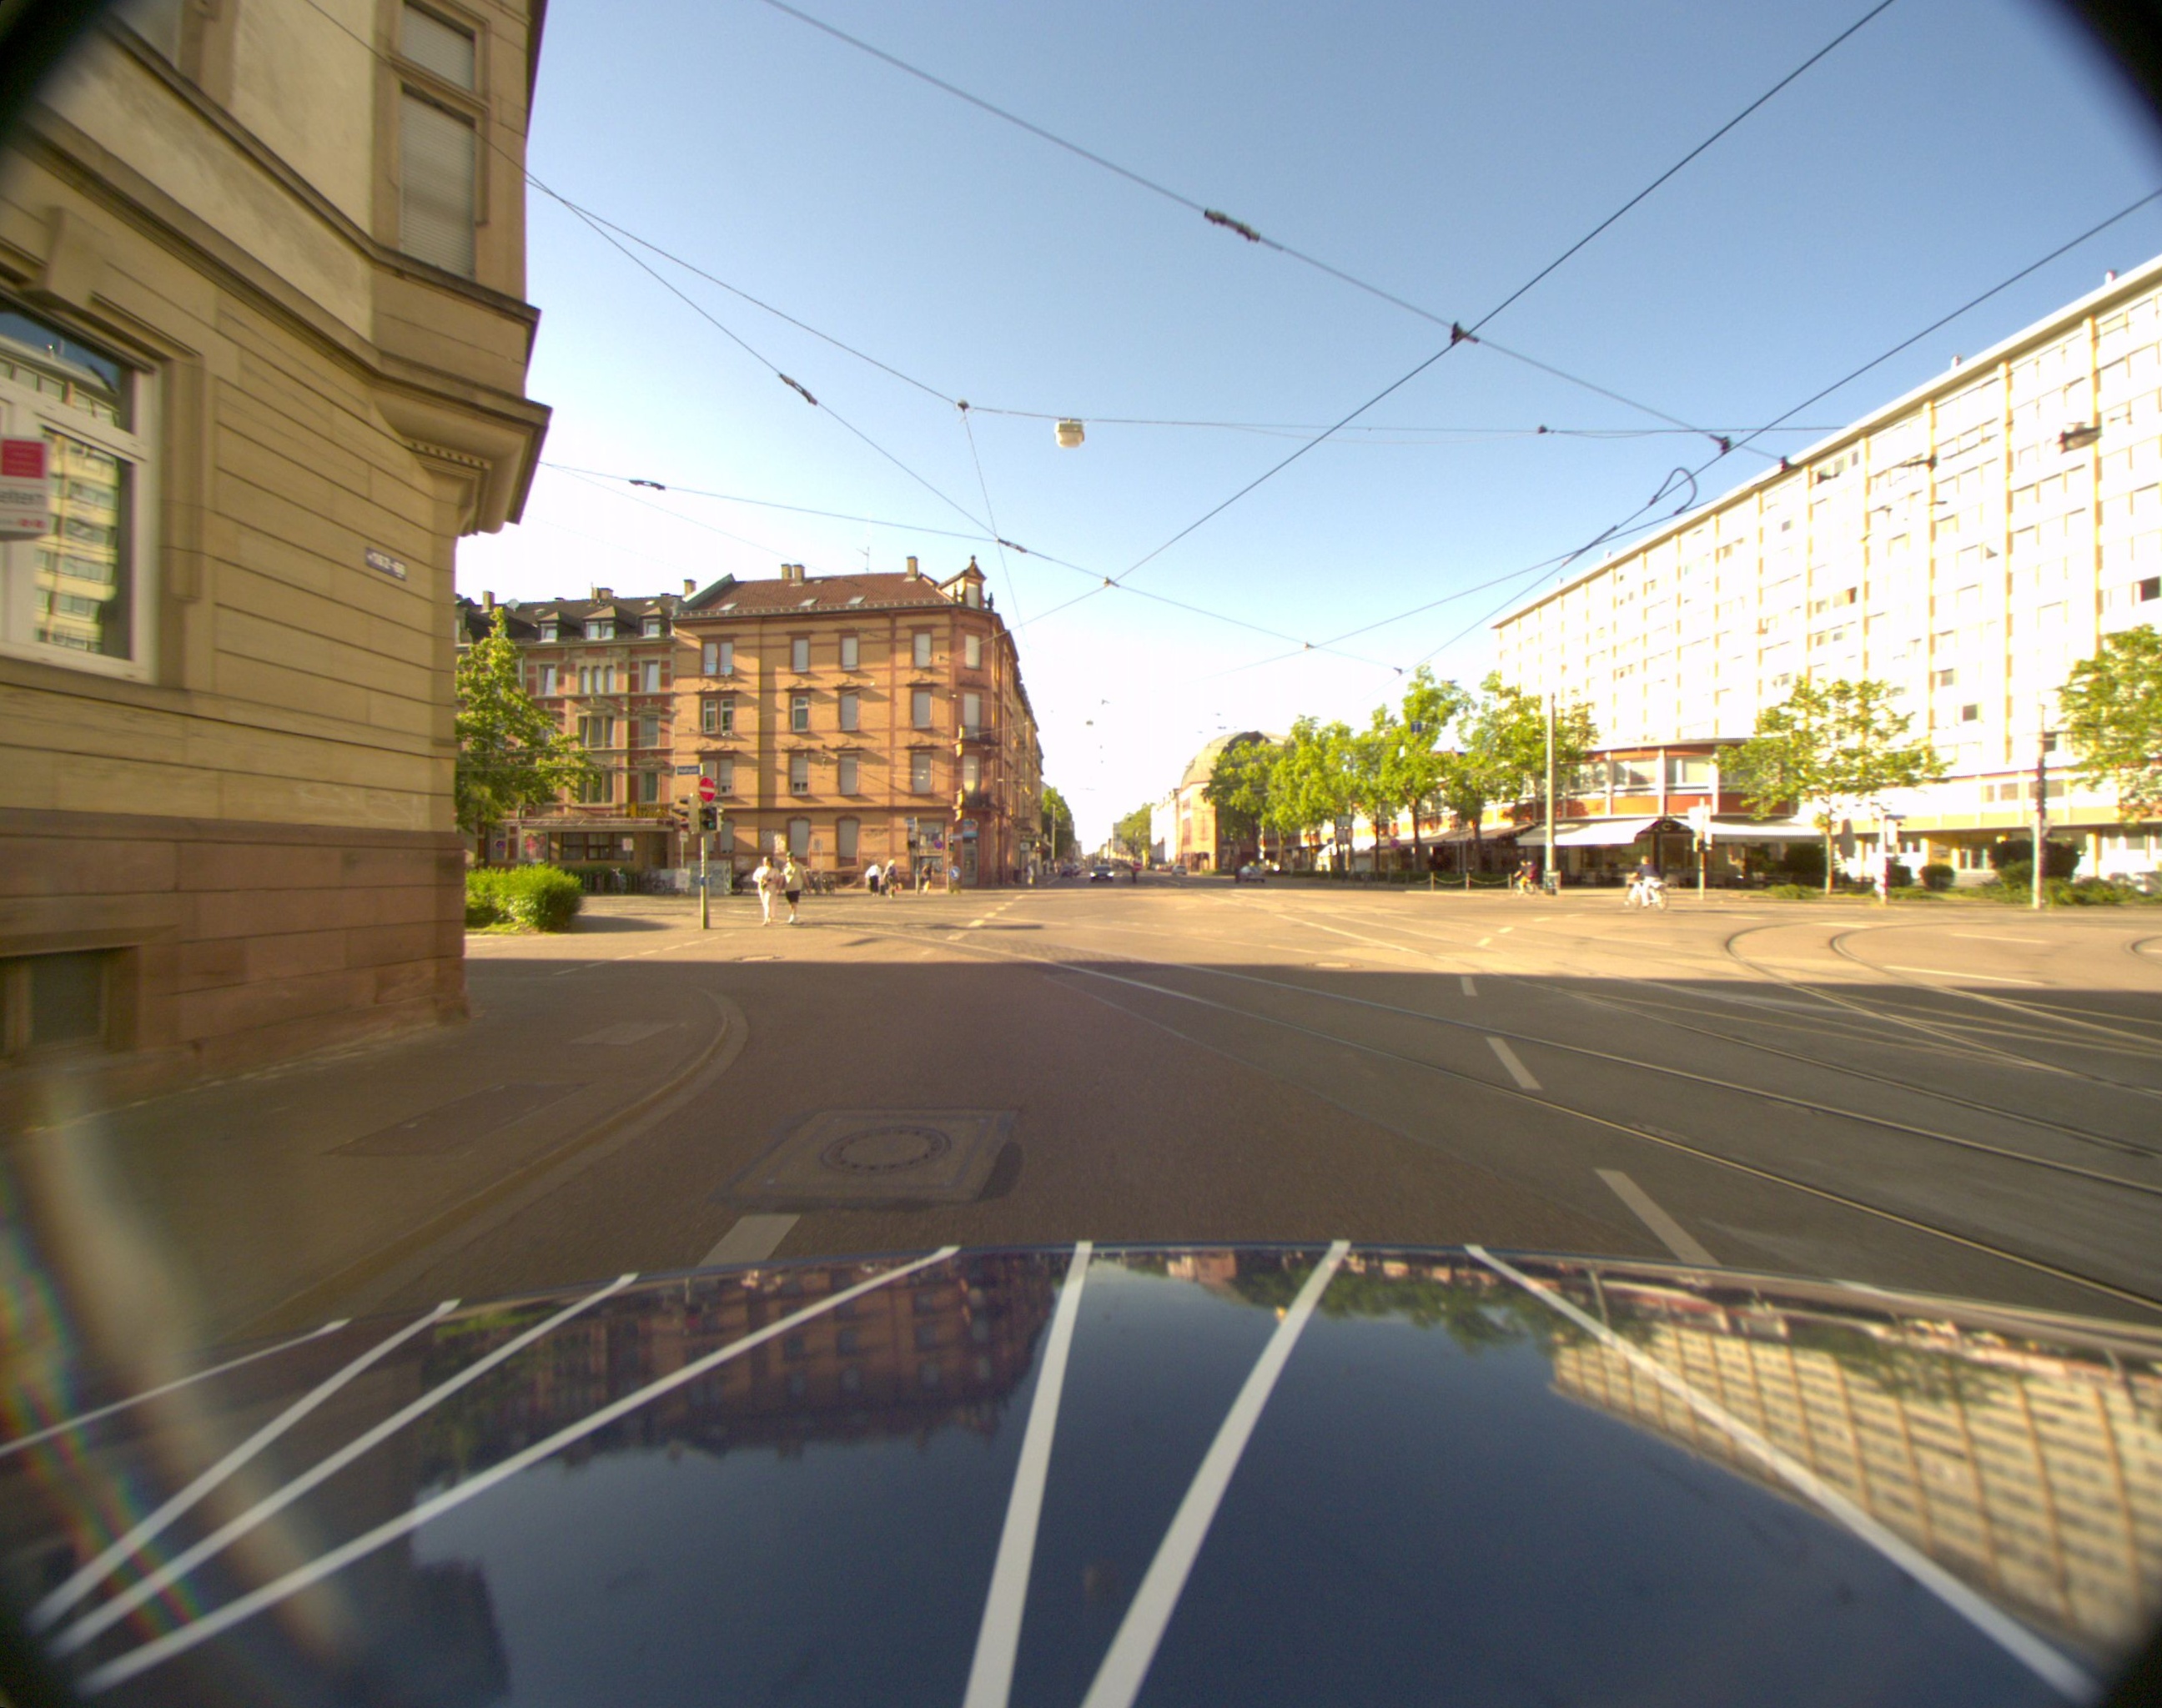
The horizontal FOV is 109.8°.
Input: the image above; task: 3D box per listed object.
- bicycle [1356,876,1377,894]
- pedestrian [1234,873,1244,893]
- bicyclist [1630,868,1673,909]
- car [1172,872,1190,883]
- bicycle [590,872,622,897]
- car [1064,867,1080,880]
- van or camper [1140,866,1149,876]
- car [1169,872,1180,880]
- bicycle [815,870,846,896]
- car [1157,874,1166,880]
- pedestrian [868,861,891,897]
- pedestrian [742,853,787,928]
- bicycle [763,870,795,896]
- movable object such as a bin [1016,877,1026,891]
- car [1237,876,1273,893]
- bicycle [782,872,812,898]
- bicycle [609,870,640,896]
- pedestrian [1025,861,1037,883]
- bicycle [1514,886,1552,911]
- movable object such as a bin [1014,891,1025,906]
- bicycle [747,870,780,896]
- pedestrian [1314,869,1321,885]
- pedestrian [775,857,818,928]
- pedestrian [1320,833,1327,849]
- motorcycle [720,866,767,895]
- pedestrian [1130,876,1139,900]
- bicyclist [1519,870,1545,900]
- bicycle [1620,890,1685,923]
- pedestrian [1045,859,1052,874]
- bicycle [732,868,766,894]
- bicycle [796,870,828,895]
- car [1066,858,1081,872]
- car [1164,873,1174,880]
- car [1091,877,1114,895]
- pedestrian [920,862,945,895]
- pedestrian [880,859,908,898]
[{"bbox_3d":[18.816,2.056,50.072,0.498,1.179,2.236,0,-2,-1],"label":"bicycle"},{"bbox_3d":[11.912,2.199,57.274,0.501,1.508,0.859,1,-2,1],"label":"pedestrian"},{"bbox_3d":[18.311,1.106,24.397,0.590,1.277,0.992,0,0,-3],"label":"bicyclist"},{"bbox_3d":[14.212,3.359,108.328,1.999,1.442,4.503,0,-2,-1],"label":"car"},{"bbox_3d":[-22.122,1.429,35.411,0.651,1.122,2.038,0,-3,-14],"label":"bicycle"},{"bbox_3d":[-1.054,2.366,90.597,1.694,1.442,4.361,-2,-2,0],"label":"car"},{"bbox_3d":[18.329,5.027,219.859,2.041,2.722,7.023,0,-2,1],"label":"van or camper"},{"bbox_3d":[19.114,4.531,155.589,1.753,1.445,3.472,-1,-2,-1],"label":"car"},{"bbox_3d":[-12.059,1.425,36.637,0.753,1.202,2.312,0,-3,-1],"label":"bicycle"},{"bbox_3d":[19.297,5.451,181.618,1.856,1.445,3.855,-1,-2,1],"label":"car"},{"bbox_3d":[-9.172,1.132,34.594,0.926,1.622,1.007,0,0,-21],"label":"pedestrian"},{"bbox_3d":[-7.517,0.851,18.071,0.644,1.734,0.706,-2,0,14],"label":"pedestrian"},{"bbox_3d":[-14.580,1.435,36.750,0.650,1.202,2.312,0,-3,-1],"label":"bicycle"},{"bbox_3d":[-4.485,2.259,57.025,0.664,1.066,0.591,2,-1,3],"label":"movable object such as a bin"},{"bbox_3d":[15.133,2.669,66.195,1.999,1.442,4.651,0,-2,-1],"label":"car"},{"bbox_3d":[-13.724,1.498,36.774,0.650,1.202,2.312,0,-3,-1],"label":"bicycle"},{"bbox_3d":[-21.355,1.344,35.588,0.651,1.202,2.038,0,-1,-14],"label":"bicycle"},{"bbox_3d":[-3.532,1.284,53.815,0.684,1.597,0.730,0,-1,-23],"label":"pedestrian"},{"bbox_3d":[19.424,1.897,32.685,0.595,0.966,1.818,0,-1,1],"label":"bicycle"},{"bbox_3d":[-4.565,3.299,56.411,0.664,1.066,0.545,2,-1,3],"label":"movable object such as a bin"},{"bbox_3d":[-15.281,1.410,36.660,0.650,1.202,2.312,0,-3,-1],"label":"bicycle"},{"bbox_3d":[27.784,2.704,89.380,0.574,1.761,0.706,0,-1,2],"label":"pedestrian"},{"bbox_3d":[-6.742,0.900,18.026,0.701,1.645,0.633,0,0,23],"label":"pedestrian"},{"bbox_3d":[28.557,-1.530,89.509,0.574,1.739,0.706,0,-1,2],"label":"pedestrian"},{"bbox_3d":[-16.888,1.351,38.049,1.948,1.395,0.864,3,-5,-36],"label":"motorcycle"},{"bbox_3d":[3.930,2.481,55.639,0.559,1.753,0.895,1,-2,1],"label":"pedestrian"},{"bbox_3d":[19.408,1.316,32.729,0.590,1.277,0.927,0,0,1],"label":"bicyclist"},{"bbox_3d":[18.304,1.660,24.392,0.595,0.966,1.854,0,-1,-4],"label":"bicycle"},{"bbox_3d":[-4.151,1.652,97.548,0.686,1.900,1.063,-2,0,4],"label":"pedestrian"},{"bbox_3d":[-15.991,1.339,36.673,0.650,1.202,2.312,0,-3,-1],"label":"bicycle"},{"bbox_3d":[-12.951,1.378,36.649,0.753,1.202,2.312,0,-2,-1],"label":"bicycle"},{"bbox_3d":[-0.996,1.493,101.871,1.694,1.703,4.618,-2,-1,3],"label":"car"},{"bbox_3d":[19.134,4.891,165.190,1.856,1.445,3.855,-1,-2,1],"label":"car"},{"bbox_3d":[1.821,2.688,64.658,1.815,1.415,4.155,-2,-2,0],"label":"car"},{"bbox_3d":[-6.962,1.133,35.623,0.633,1.528,0.944,-1,0,33],"label":"pedestrian"},{"bbox_3d":[-8.001,1.047,32.470,0.927,1.622,0.940,0,0,-28],"label":"pedestrian"}]
